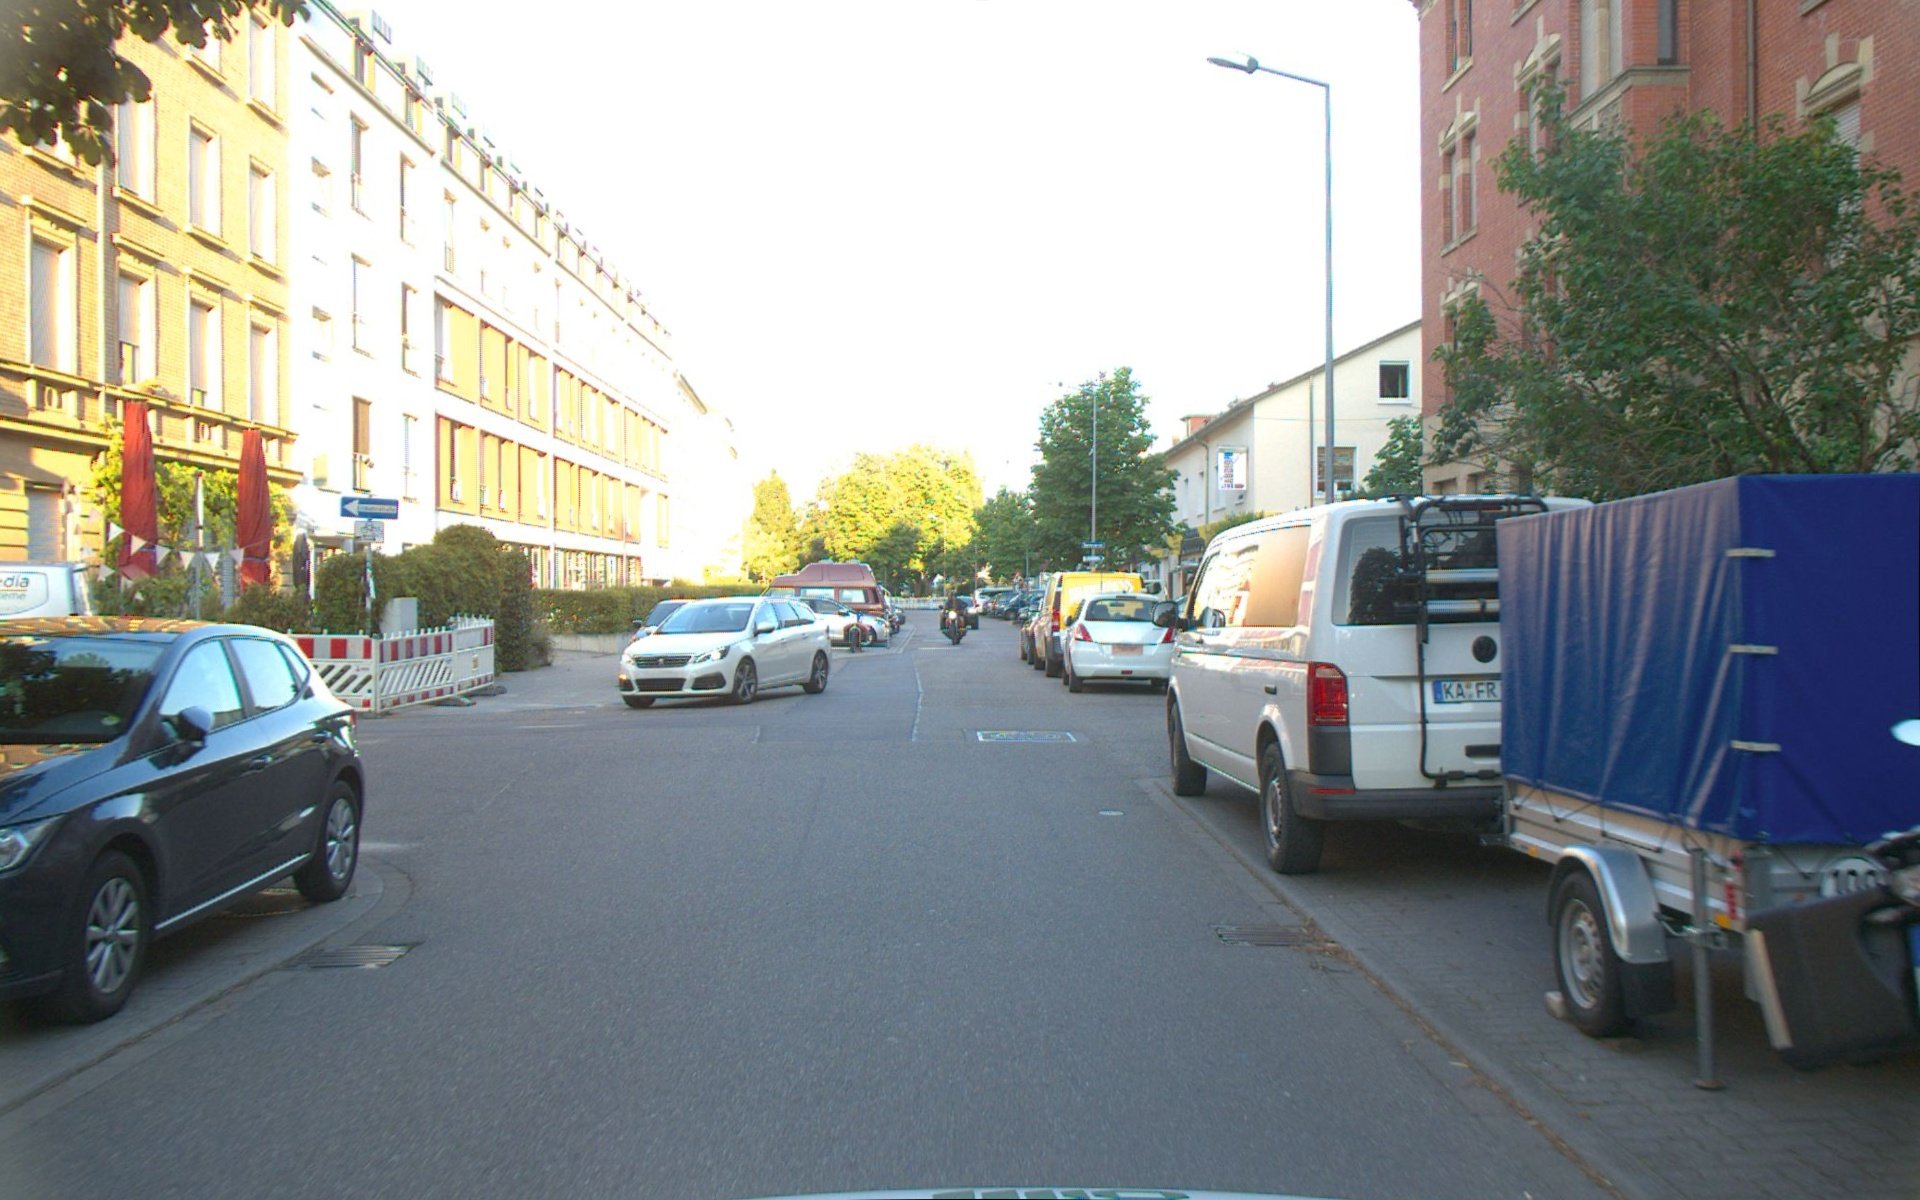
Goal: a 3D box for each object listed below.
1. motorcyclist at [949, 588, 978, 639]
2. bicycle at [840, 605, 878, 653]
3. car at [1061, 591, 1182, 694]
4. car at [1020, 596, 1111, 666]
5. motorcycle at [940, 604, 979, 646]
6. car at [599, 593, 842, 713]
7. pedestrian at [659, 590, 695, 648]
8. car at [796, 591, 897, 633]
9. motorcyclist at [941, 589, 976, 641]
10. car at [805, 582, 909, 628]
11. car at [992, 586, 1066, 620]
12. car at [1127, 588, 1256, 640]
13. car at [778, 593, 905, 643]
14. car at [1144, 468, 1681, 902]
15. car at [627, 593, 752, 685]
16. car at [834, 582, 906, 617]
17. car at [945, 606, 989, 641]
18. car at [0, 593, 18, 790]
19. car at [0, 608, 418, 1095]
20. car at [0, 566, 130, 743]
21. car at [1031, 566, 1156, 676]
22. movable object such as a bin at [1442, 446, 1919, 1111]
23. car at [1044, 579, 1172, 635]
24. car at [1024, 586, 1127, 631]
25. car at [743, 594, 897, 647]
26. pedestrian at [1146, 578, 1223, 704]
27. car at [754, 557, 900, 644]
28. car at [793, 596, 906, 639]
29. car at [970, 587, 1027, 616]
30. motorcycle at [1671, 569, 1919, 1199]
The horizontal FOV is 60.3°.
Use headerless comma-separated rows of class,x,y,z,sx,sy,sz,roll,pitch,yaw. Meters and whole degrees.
motorcyclist,0.101,0.416,52.057,0.770,1.567,0.546,-3,-1,9
bicycle,-2.728,0.762,44.832,0.791,1.243,2.865,1,0,1
car,2.481,0.619,26.117,1.640,1.503,3.862,0,0,2
car,2.303,0.659,37.095,1.686,1.449,4.252,1,0,-1
motorcycle,0.001,0.781,51.594,0.828,1.230,2.076,-3,0,9
car,-3.329,0.700,23.952,1.776,1.549,4.601,-1,0,15
pedestrian,-7.629,0.508,44.609,0.815,1.527,0.798,1,0,0
car,-4.836,0.489,70.755,4.170,1.689,2.000,1,0,-1
motorcyclist,-0.050,0.457,51.297,0.870,1.531,0.970,-3,0,9
car,-4.799,0.228,77.666,4.752,2.056,1.906,1,0,-1
car,4.317,0.185,103.905,4.392,1.945,1.686,-2,0,-6
car,7.549,0.448,54.208,3.967,1.540,1.756,-2,2,0
car,-3.921,0.595,55.263,4.125,1.565,1.790,1,0,-3
car,2.545,0.409,10.932,1.824,2.074,5.543,-2,0,-2
car,-4.856,0.668,30.120,1.669,1.561,3.844,0,0,-1
car,-5.751,-0.040,106.160,4.441,2.171,2.000,1,0,-1
car,0.363,1.075,78.283,1.742,1.544,4.002,-1,0,5
car,-9.211,0.726,12.211,3.435,1.534,1.844,0,1,-2
car,-3.890,0.801,7.377,1.641,1.487,4.461,0,0,-3
car,-12.606,0.618,19.163,5.208,2.009,2.192,-1,1,-24
car,2.443,0.365,31.449,1.855,1.917,5.081,0,0,-1
movable object such as a bin,2.830,0.504,5.994,1.383,1.910,2.324,-2,0,-1
car,5.899,0.271,66.334,4.888,2.018,2.219,-2,0,0
car,5.653,0.398,81.495,4.845,1.992,2.048,-2,0,-2
car,-4.194,0.603,50.039,4.524,1.486,1.879,1,0,-4
pedestrian,3.211,0.571,23.611,0.870,1.752,0.959,1,0,20
car,-4.190,0.026,52.694,4.418,2.629,2.000,1,0,1
car,-4.172,0.641,62.868,4.123,1.516,1.850,1,0,0
car,2.754,0.097,119.500,3.891,1.945,2.047,-2,0,-5
motorcycle,2.846,0.663,3.993,2.070,1.508,1.120,-2,0,-35
